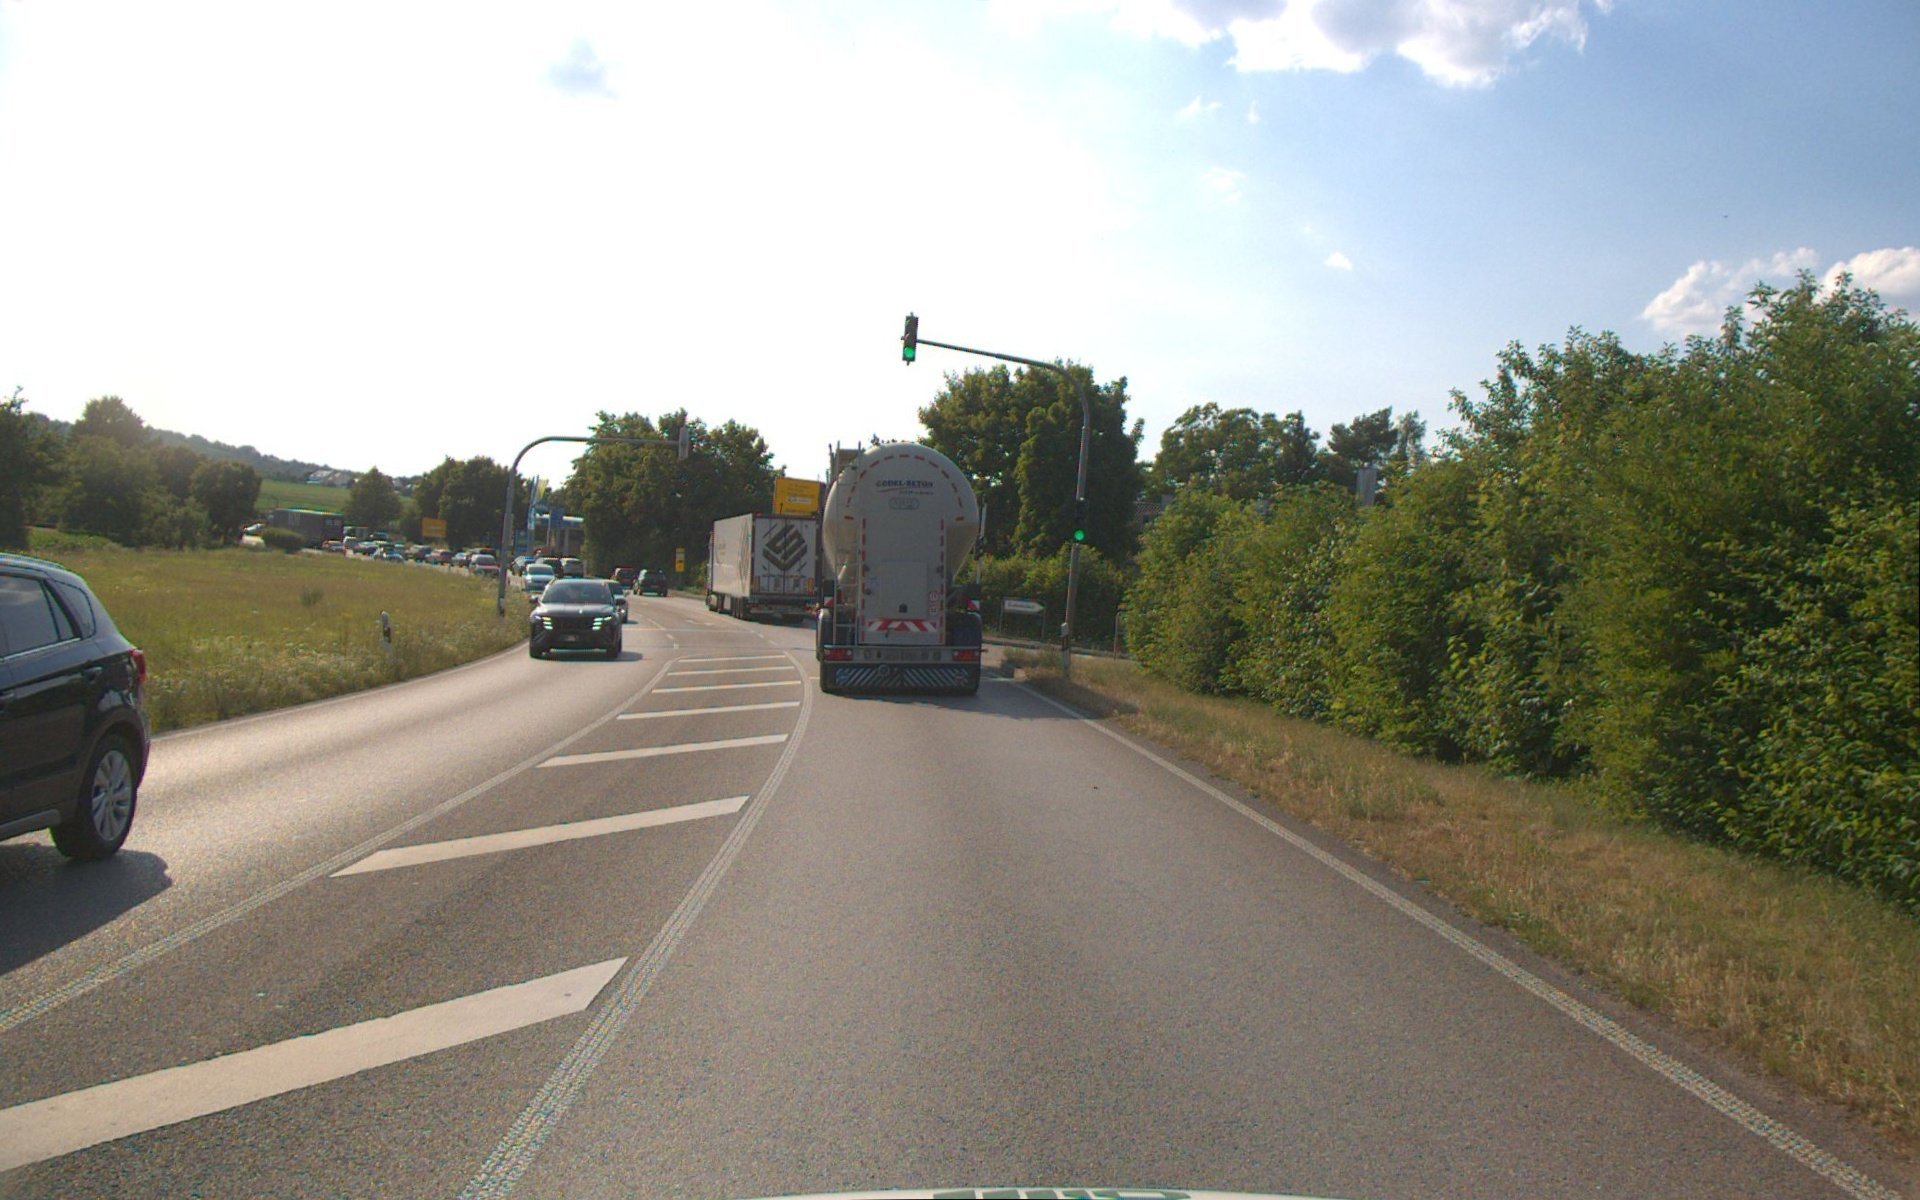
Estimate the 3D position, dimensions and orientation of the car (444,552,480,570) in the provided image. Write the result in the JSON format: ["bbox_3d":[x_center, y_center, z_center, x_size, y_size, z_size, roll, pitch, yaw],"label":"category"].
[{"bbox_3d":[-47.891,-3.730,158.899,2.069,1.627,3.949,3,0,-36],"label":"car"}]

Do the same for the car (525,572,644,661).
[{"bbox_3d":[-8.216,0.312,36.509,1.955,1.755,4.421,2,1,-6],"label":"car"}]

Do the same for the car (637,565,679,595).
[{"bbox_3d":[-18.840,-1.235,102.984,1.963,1.685,3.979,3,-1,-18],"label":"car"}]

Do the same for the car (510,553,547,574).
[{"bbox_3d":[-36.658,-3.089,140.431,2.062,1.627,3.962,3,0,-29],"label":"car"}]

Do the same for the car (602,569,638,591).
[{"bbox_3d":[-24.319,-1.428,118.211,1.661,1.493,3.970,3,-1,-24],"label":"car"}]

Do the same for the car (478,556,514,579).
[{"bbox_3d":[-34.198,-2.414,121.855,1.859,1.627,3.966,3,0,-27],"label":"car"}]

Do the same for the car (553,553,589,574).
[{"bbox_3d":[-33.346,-3.094,141.787,1.822,1.685,3.959,3,-1,-30],"label":"car"}]

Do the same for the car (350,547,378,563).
[{"bbox_3d":[-65.392,-4.907,181.413,1.867,1.627,3.950,3,0,-36],"label":"car"}]

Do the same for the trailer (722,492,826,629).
[{"bbox_3d":[-7.617,-1.418,66.490,2.913,4.967,10.254,2,-1,-13],"label":"trailer"}]

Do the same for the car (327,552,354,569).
[{"bbox_3d":[-64.251,-4.082,171.552,1.864,1.627,3.957,3,0,-32],"label":"car"}]

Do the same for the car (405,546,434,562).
[{"bbox_3d":[-55.593,-4.736,170.033,1.864,1.627,3.956,3,0,-32],"label":"car"}]

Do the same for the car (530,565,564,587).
[{"bbox_3d":[-33.090,-1.928,132.497,1.858,1.627,3.968,3,0,-25],"label":"car"}]

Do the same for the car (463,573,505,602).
[{"bbox_3d":[-28.651,-0.771,99.531,1.857,1.627,3.970,3,0,-24],"label":"car"}]

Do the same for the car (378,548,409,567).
[{"bbox_3d":[-53.393,-4.013,155.816,1.864,1.627,3.956,3,0,-32],"label":"car"}]

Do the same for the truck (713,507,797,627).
[{"bbox_3d":[-9.178,-1.381,73.541,2.911,4.972,6.409,2,-1,-13],"label":"truck"}]

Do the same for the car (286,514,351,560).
[{"bbox_3d":[-75.936,-7.429,195.643,3.516,5.147,13.066,3,0,-38],"label":"car"}]

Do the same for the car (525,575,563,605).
[{"bbox_3d":[-24.137,-0.613,95.828,1.852,1.627,3.981,3,0,-17],"label":"car"}]

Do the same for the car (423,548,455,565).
[{"bbox_3d":[-51.933,-4.340,164.838,1.865,1.627,3.953,3,0,-34],"label":"car"}]

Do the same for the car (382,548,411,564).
[{"bbox_3d":[-60.298,-4.722,176.956,1.867,1.627,3.950,3,0,-36],"label":"car"}]

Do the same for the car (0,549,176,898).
[{"bbox_3d":[-5.161,0.555,7.357,1.661,1.579,4.148,0,1,-5],"label":"car"}]

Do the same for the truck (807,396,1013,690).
[{"bbox_3d":[-1.206,-0.763,30.410,2.918,4.248,11.650,2,-1,-5],"label":"truck"}]

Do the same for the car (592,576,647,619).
[{"bbox_3d":[-12.123,-0.096,59.056,1.688,1.461,3.741,1,0,-9],"label":"car"}]

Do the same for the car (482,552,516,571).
[{"bbox_3d":[-42.654,-3.548,153.007,1.864,1.627,3.955,3,0,-33],"label":"car"}]
